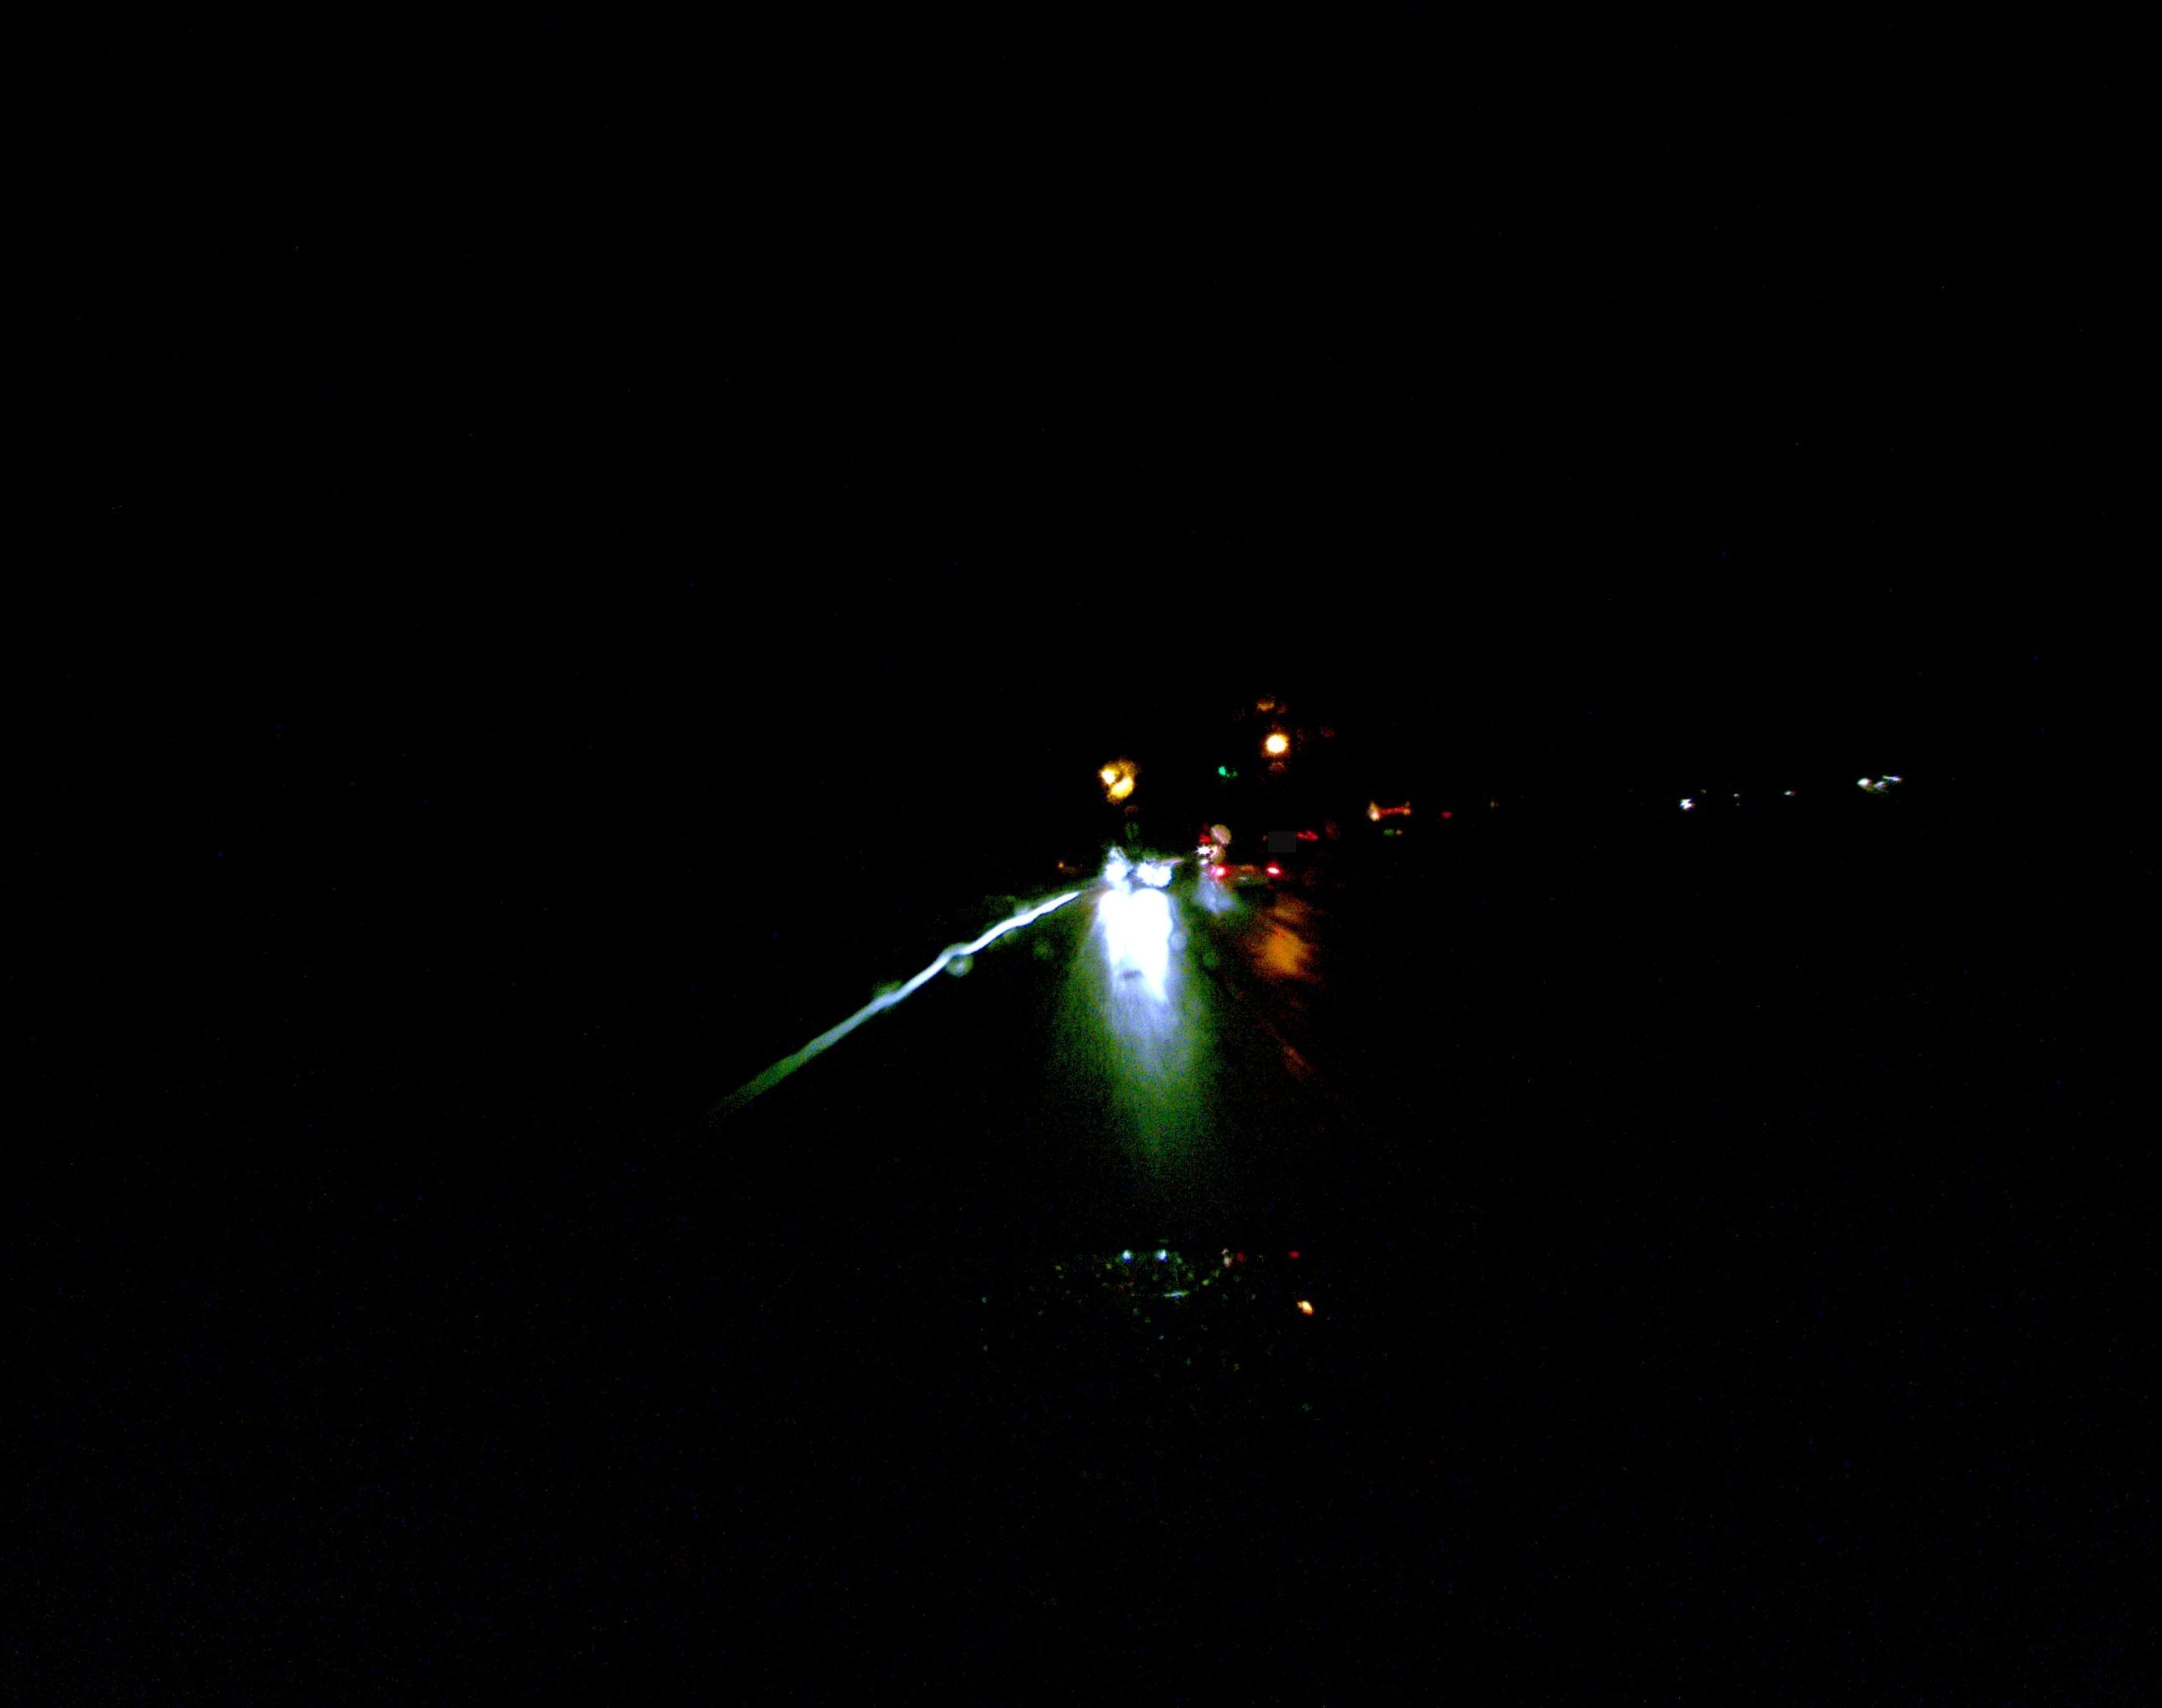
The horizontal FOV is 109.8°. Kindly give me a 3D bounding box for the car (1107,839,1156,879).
[{"bbox_3d":[2.382,0.189,34.796,1.958,1.712,4.002,-2,1,7],"label":"car"}]

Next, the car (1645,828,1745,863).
[{"bbox_3d":[35.170,-0.563,43.696,1.942,1.688,4.624,-4,3,-1],"label":"car"}]

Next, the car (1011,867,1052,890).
[{"bbox_3d":[-3.565,1.754,55.353,1.637,1.502,3.680,1,2,21],"label":"car"}]

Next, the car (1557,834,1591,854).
[{"bbox_3d":[42.853,-0.921,66.009,1.855,1.391,4.045,4,7,41],"label":"car"}]

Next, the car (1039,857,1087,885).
[{"bbox_3d":[-1.077,1.018,47.061,1.676,1.557,3.806,-1,0,20],"label":"car"}]

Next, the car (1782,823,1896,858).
[{"bbox_3d":[43.497,-0.836,43.770,1.942,1.688,4.624,-4,3,-1],"label":"car"}]

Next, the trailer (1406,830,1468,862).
[{"bbox_3d":[19.930,-0.477,42.668,1.816,1.668,4.101,0,1,5],"label":"trailer"}]

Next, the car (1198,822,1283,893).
[{"bbox_3d":[5.130,0.108,25.173,1.998,2.002,4.847,-4,0,4],"label":"car"}]

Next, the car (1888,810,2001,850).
[{"bbox_3d":[48.857,-1.399,43.135,1.763,2.045,3.996,-4,3,-3],"label":"car"}]

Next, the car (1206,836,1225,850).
[{"bbox_3d":[14.673,-1.186,82.871,1.589,1.286,3.371,-3,4,16],"label":"car"}]

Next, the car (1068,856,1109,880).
[{"bbox_3d":[0.530,0.932,51.345,1.637,1.390,3.679,-1,2,20],"label":"car"}]

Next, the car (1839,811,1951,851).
[{"bbox_3d":[46.401,-1.342,43.435,1.999,2.045,3.996,-4,3,-3],"label":"car"}]

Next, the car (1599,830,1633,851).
[{"bbox_3d":[44.870,-1.149,63.717,1.855,1.391,4.045,4,7,41],"label":"car"}]

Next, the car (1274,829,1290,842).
[{"bbox_3d":[26.653,-2.482,100.612,1.697,1.591,3.805,-1,3,21],"label":"car"}]

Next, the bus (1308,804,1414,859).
[{"bbox_3d":[22.139,-1.888,61.267,2.901,3.847,13.048,-3,2,-4],"label":"bus"}]
